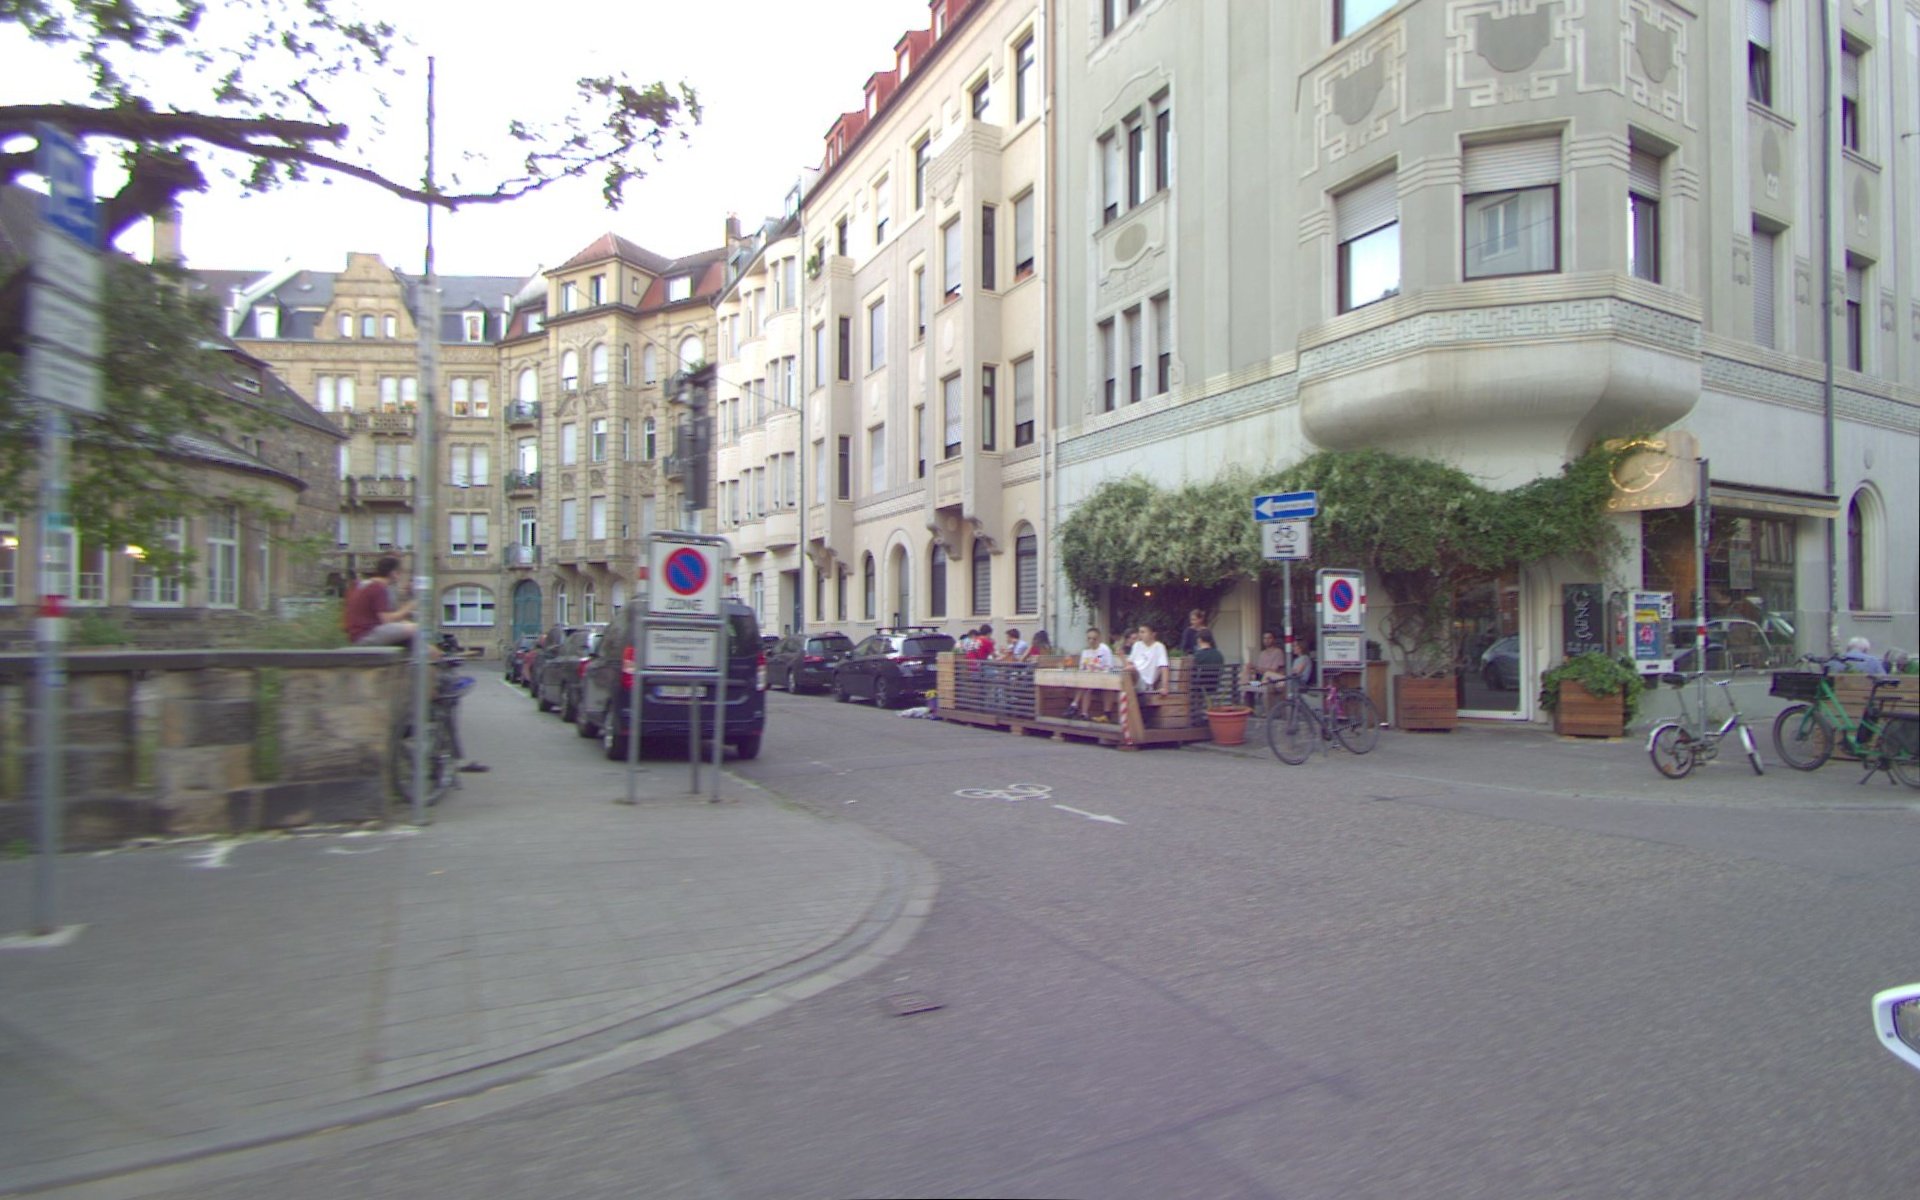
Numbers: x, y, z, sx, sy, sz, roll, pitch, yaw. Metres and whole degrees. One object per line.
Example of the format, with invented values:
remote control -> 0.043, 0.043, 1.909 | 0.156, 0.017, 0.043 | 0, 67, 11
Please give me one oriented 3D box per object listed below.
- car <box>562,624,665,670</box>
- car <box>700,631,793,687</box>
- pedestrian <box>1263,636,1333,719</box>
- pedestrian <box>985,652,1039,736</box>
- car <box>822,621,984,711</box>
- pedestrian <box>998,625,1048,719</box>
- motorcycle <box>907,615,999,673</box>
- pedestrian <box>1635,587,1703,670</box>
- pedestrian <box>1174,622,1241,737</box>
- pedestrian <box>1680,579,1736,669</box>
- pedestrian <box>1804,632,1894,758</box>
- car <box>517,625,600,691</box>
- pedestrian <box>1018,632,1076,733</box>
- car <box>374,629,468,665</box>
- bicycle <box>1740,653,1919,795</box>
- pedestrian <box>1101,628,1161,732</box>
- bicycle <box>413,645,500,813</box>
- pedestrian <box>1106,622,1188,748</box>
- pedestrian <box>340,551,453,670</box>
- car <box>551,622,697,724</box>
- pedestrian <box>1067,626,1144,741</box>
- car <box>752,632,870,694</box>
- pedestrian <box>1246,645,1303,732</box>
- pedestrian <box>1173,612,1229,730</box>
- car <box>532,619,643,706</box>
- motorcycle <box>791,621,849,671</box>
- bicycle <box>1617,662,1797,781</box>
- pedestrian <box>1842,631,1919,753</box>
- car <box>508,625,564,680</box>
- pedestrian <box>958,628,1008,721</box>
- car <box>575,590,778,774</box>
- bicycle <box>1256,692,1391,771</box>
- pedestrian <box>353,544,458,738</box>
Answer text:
car -> -15.325, 2.054, 44.356 | 5.088, 1.884, 1.801 | 0, -3, 39
car -> -6.628, 1.781, 30.858 | 1.718, 1.567, 4.121 | 3, -3, -27
pedestrian -> 5.212, 1.179, 15.523 | 0.769, 1.230, 0.688 | 1, -1, -27
pedestrian -> 0.791, 1.412, 15.267 | 0.566, 1.223, 0.640 | 1, -2, -29
car -> -1.280, 1.307, 20.553 | 1.718, 1.639, 4.121 | 4, -3, -27
pedestrian -> 1.049, 1.187, 16.823 | 0.637, 1.520, 0.569 | 1, -2, -30
motorcycle -> -0.234, 1.032, 24.236 | 0.808, 1.297, 3.387 | 1, -2, -27
pedestrian -> 10.281, 0.406, 14.564 | 0.739, 1.169, 0.554 | 1, -1, -29
pedestrian -> 3.289, 1.034, 13.364 | 0.637, 1.488, 0.569 | 1, -2, -30
pedestrian -> 11.643, 0.374, 15.631 | 0.512, 1.368, 0.536 | 1, -1, -27
pedestrian -> 9.860, 1.027, 11.144 | 0.696, 1.342, 0.535 | 1, -1, -28
car -> -10.666, 1.473, 26.562 | 1.613, 1.592, 4.009 | 1, -2, -28
pedestrian -> 1.257, 1.182, 14.630 | 0.636, 1.430, 0.569 | 1, -2, -28
car -> -26.990, 2.313, 50.325 | 3.919, 1.762, 1.788 | 0, -1, 11
bicycle -> 8.306, 1.093, 9.261 | 0.491, 1.109, 2.116 | -1, 0, -3
pedestrian -> 2.489, 1.144, 14.632 | 0.636, 1.462, 0.569 | 1, -2, -27
bicycle -> -4.112, 0.964, 8.217 | 0.548, 1.149, 2.132 | 1, -2, -27
pedestrian -> 2.415, 1.065, 12.979 | 0.774, 1.560, 0.699 | 1, -2, -29
pedestrian -> -4.962, 0.102, 8.866 | 0.827, 0.993, 0.703 | 1, -2, -30
car -> -5.884, 1.147, 17.281 | 1.699, 1.519, 4.183 | 1, -2, -28
pedestrian -> 1.963, 1.105, 13.612 | 0.774, 1.488, 0.699 | 1, -2, -29
car -> -3.919, 1.584, 25.854 | 1.718, 1.448, 4.121 | 3, -3, -27
pedestrian -> 4.600, 1.276, 14.680 | 0.598, 1.230, 0.528 | 1, -1, -28
pedestrian -> 3.422, 0.995, 14.287 | 0.539, 1.642, 0.538 | 1, -2, -29
car -> -8.119, 1.265, 21.701 | 1.699, 1.674, 4.183 | 1, -2, -28
motorcycle -> -4.557, 1.452, 32.404 | 0.808, 1.514, 3.387 | 1, -2, -27
bicycle -> 7.173, 1.139, 9.643 | 1.689, 1.026, 0.423 | -1, 0, -15
pedestrian -> 10.625, 1.033, 11.535 | 0.696, 1.342, 0.535 | 1, -1, -28
car -> -13.059, 1.567, 30.853 | 1.281, 1.592, 3.224 | 1, -2, -28
pedestrian -> 0.369, 1.200, 16.391 | 0.566, 1.466, 0.640 | 1, -2, -29
car -> -3.652, 0.901, 12.450 | 1.865, 1.868, 3.977 | 1, -2, -24
bicycle -> 4.146, 1.466, 11.417 | 1.759, 0.705, 0.421 | -1, 0, -31
pedestrian -> -5.265, 0.380, 9.555 | 0.827, 1.744, 0.703 | 1, -2, -30
